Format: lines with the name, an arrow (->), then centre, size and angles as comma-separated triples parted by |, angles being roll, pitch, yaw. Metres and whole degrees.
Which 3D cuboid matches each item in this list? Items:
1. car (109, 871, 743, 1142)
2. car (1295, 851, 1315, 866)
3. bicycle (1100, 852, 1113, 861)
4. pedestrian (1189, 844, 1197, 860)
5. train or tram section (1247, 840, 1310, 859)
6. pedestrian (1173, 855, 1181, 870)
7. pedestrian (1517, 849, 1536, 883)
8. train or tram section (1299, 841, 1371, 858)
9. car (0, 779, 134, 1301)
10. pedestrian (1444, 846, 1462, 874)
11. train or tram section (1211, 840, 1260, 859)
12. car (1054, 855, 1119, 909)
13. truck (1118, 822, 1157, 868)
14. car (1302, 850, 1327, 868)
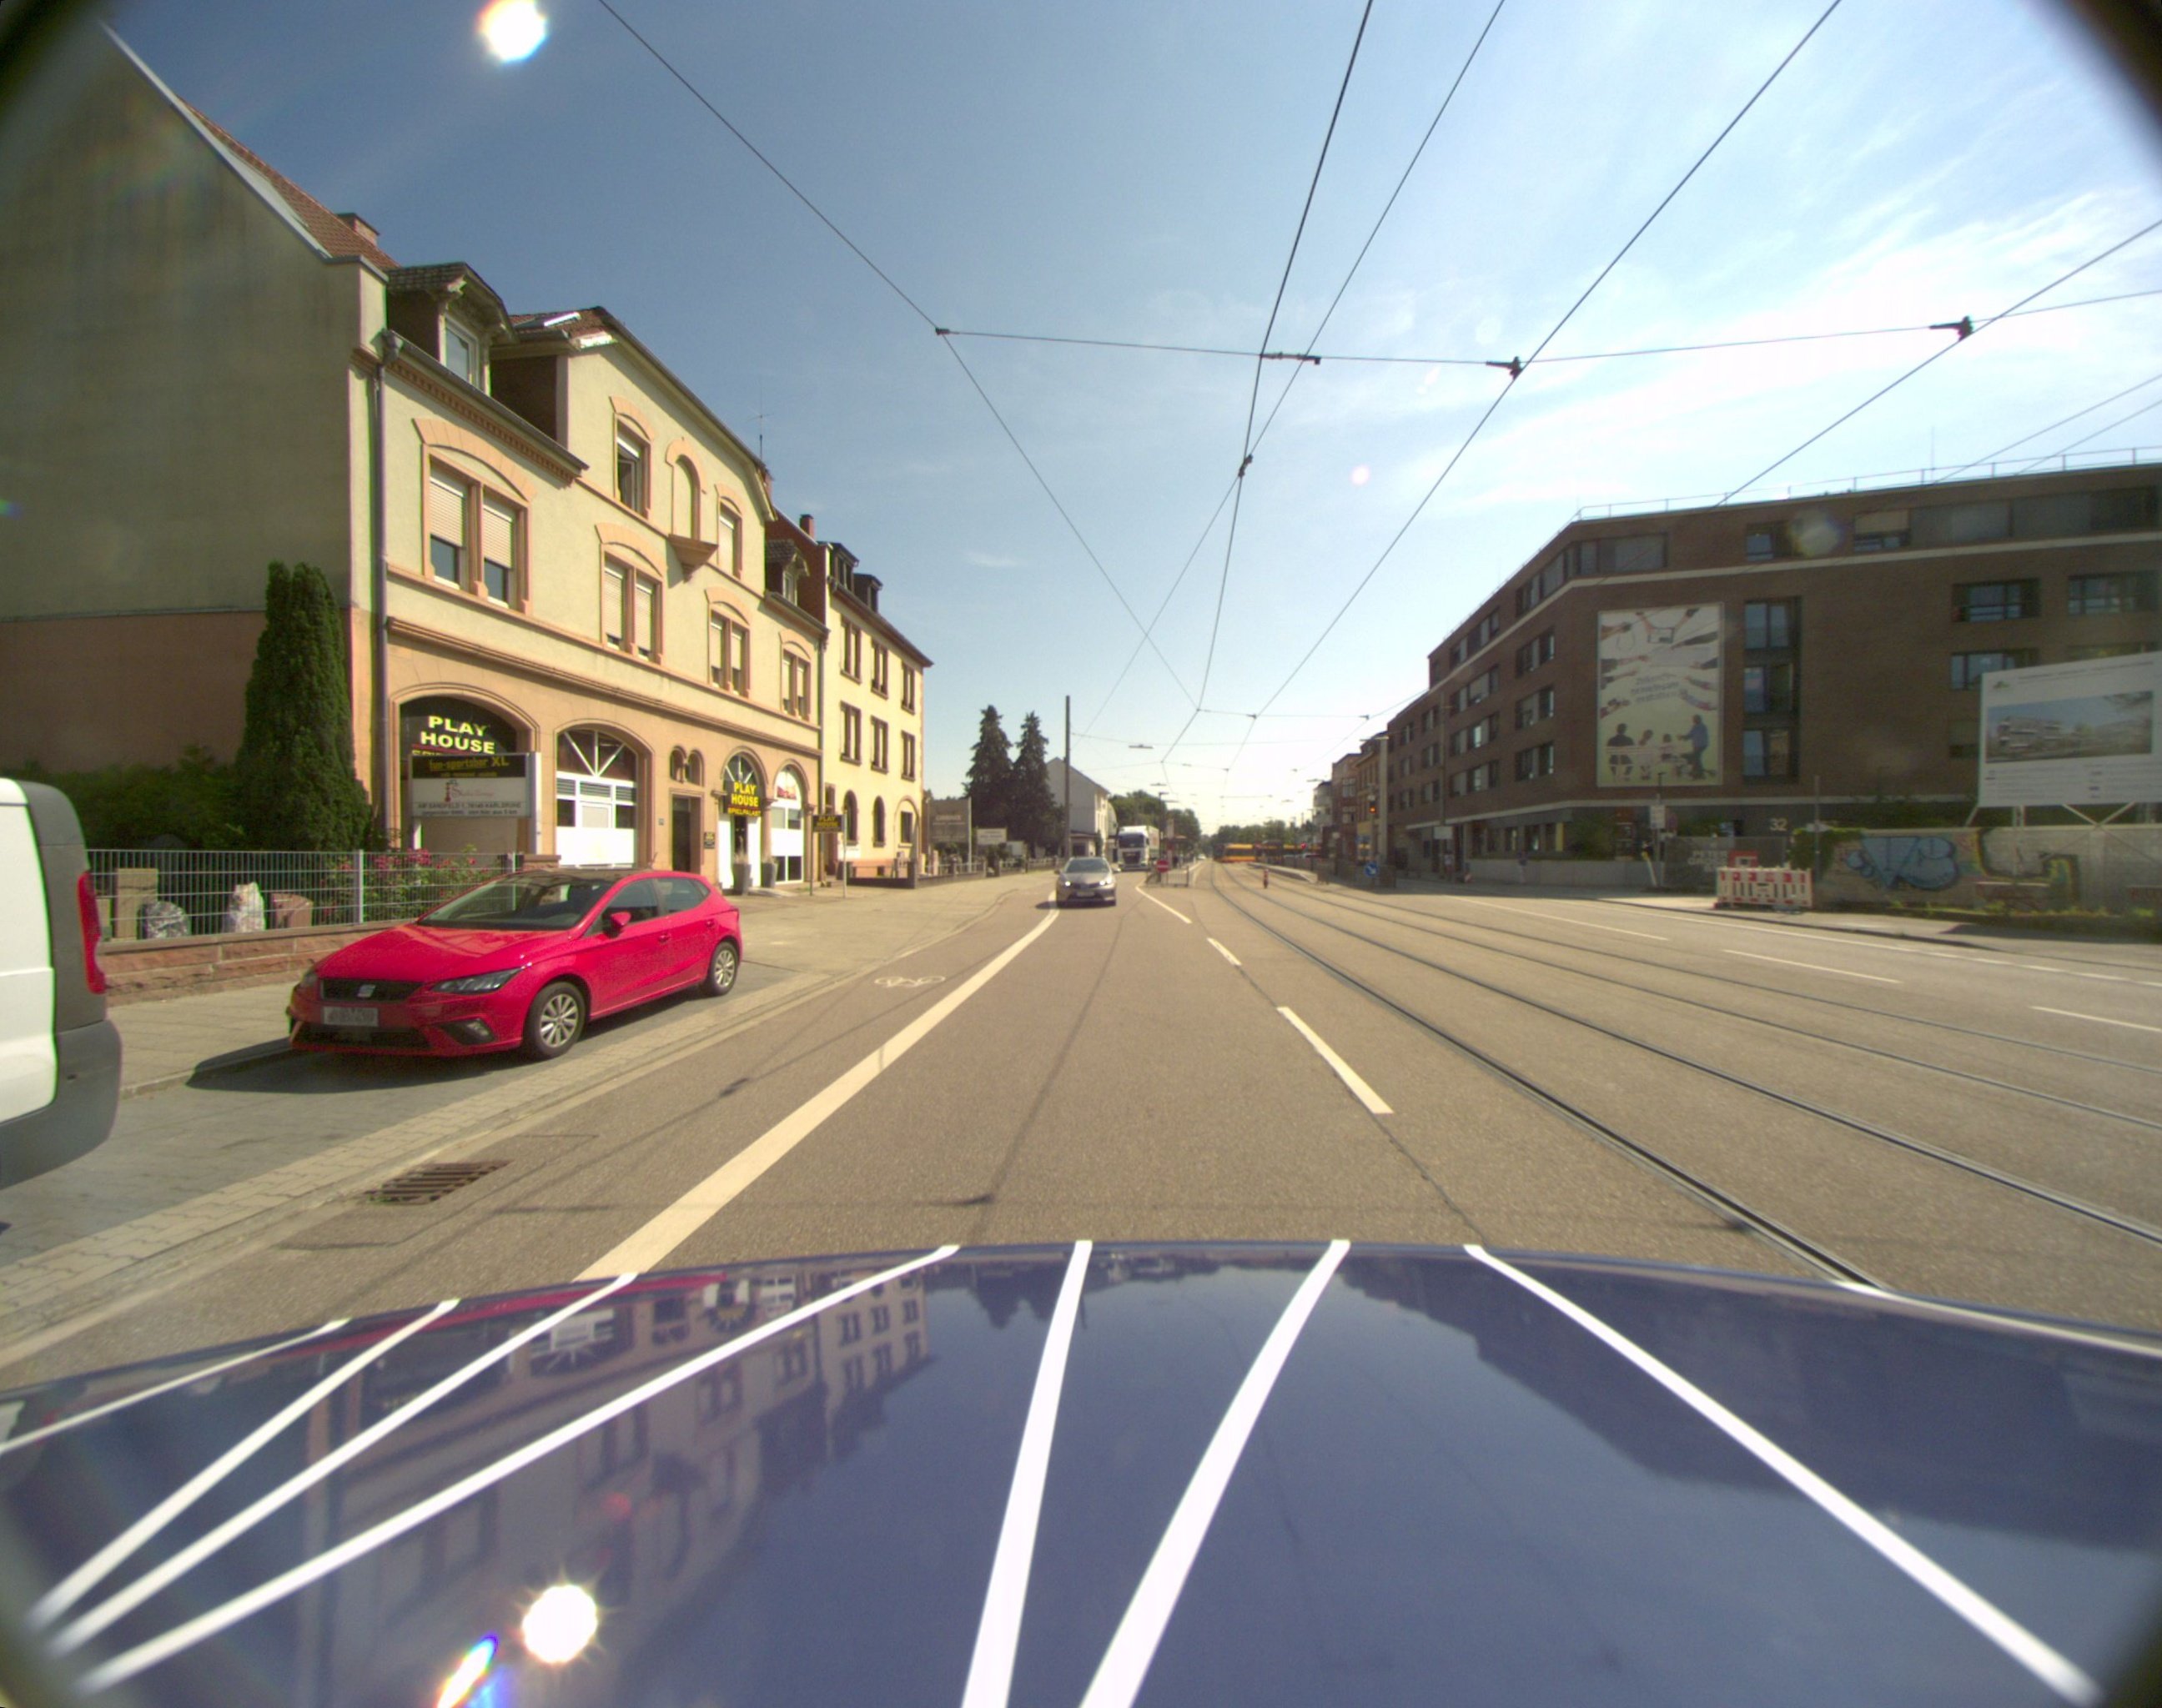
car -> -4.918, 0.962, 6.721 | 1.726, 1.435, 4.313 | 2, 1, 3
car -> 24.698, 0.503, 83.864 | 1.715, 1.613, 3.581 | -1, 0, 10
bicycle -> 3.312, 0.342, 98.172 | 1.529, 1.051, 0.398 | 3, 1, 11
pedestrian -> 13.292, -0.201, 90.224 | 0.982, 1.848, 1.238 | 0, 1, 10
train or tram section -> 38.489, -0.890, 148.004 | 13.357, 3.460, 2.682 | 0, 1, -26
pedestrian -> 8.375, 0.730, 66.281 | 0.630, 1.247, 0.710 | 1, 1, 9
pedestrian -> 21.937, 0.581, 37.439 | 0.582, 1.654, 0.700 | 0, 1, 8
train or tram section -> 50.418, -0.923, 151.126 | 13.328, 3.460, 2.688 | 0, 1, 0
car -> -5.316, 0.695, 0.798 | 1.981, 2.042, 5.192 | 2, 0, 3
pedestrian -> 23.779, 0.378, 48.564 | 0.846, 1.808, 0.839 | 0, 1, 10
train or tram section -> 28.677, -0.807, 140.083 | 2.680, 3.460, 13.367 | 1, 1, 40
car -> 0.264, 0.782, 23.524 | 1.695, 1.440, 4.482 | -1, 1, 4
truck -> 5.101, -0.768, 67.705 | 2.655, 3.772, 7.869 | 0, 0, 10
car -> 23.204, 0.483, 75.602 | 1.804, 1.718, 4.192 | -2, 0, 10
